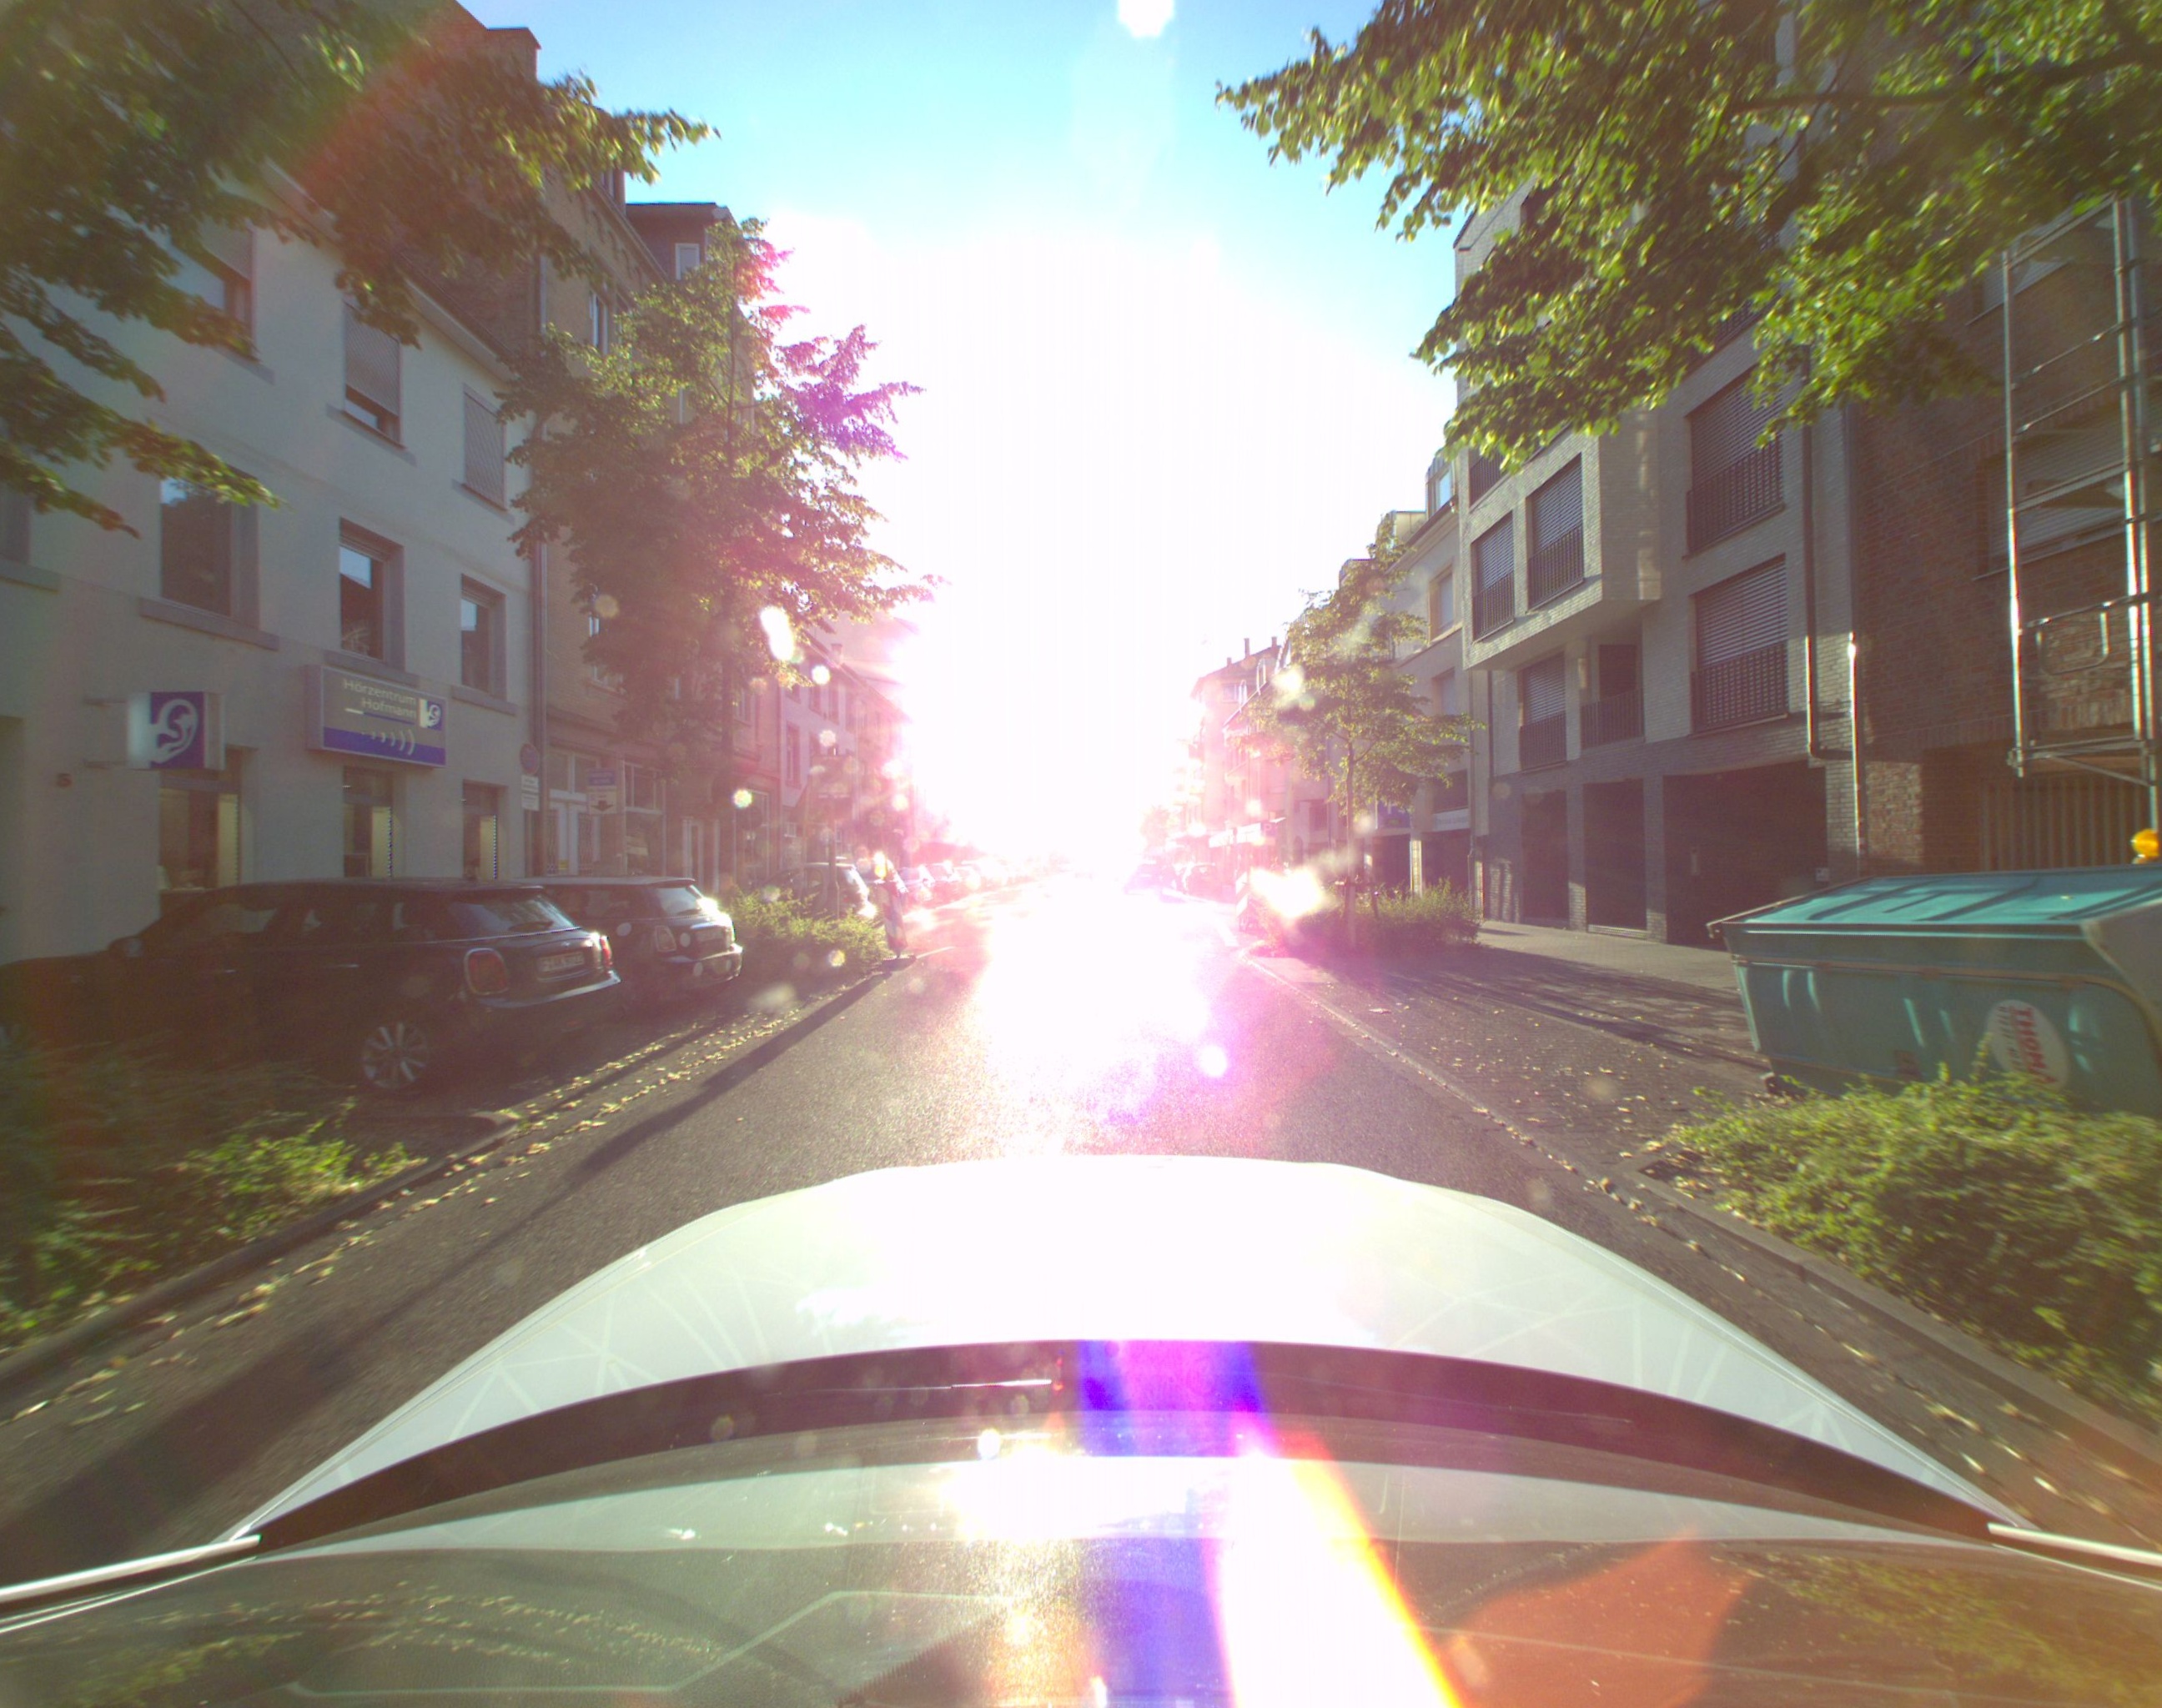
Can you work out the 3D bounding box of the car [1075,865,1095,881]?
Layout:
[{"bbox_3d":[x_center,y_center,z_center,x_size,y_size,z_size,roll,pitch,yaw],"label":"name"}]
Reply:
[{"bbox_3d":[0.404,1.811,78.451,1.877,1.415,4.325,0,-1,1],"label":"car"}]

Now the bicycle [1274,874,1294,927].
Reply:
[{"bbox_3d":[4.566,1.021,18.355,0.368,1.108,1.528,-2,-1,12],"label":"bicycle"}]

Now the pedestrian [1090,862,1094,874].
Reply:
[{"bbox_3d":[1.566,2.085,117.661,0.496,1.715,0.459,-1,0,-20],"label":"pedestrian"}]

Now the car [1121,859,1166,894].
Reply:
[{"bbox_3d":[3.112,1.091,41.240,1.988,1.655,4.674,1,-1,1],"label":"car"}]

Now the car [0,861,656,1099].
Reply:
[{"bbox_3d":[-5.691,0.832,6.228,3.879,1.517,1.857,-1,-1,1],"label":"car"}]

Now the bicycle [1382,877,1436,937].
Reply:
[{"bbox_3d":[6.529,1.031,16.272,0.381,1.100,1.521,-1,-1,-3],"label":"bicycle"}]

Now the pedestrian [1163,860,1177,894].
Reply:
[{"bbox_3d":[4.458,1.132,40.808,0.443,1.665,0.561,-1,-1,-24],"label":"pedestrian"}]

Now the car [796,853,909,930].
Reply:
[{"bbox_3d":[-5.910,0.932,21.639,1.901,1.728,4.695,-2,-1,-4],"label":"car"}]

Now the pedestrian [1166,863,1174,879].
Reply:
[{"bbox_3d":[8.741,1.621,79.702,0.685,1.559,0.863,-1,-1,1],"label":"pedestrian"}]

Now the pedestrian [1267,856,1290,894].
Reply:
[{"bbox_3d":[8.916,0.955,36.749,0.808,1.647,0.606,-3,-2,0],"label":"pedestrian"}]

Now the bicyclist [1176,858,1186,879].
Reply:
[{"bbox_3d":[8.494,1.221,68.993,0.648,1.702,1.095,-1,-1,0],"label":"bicyclist"}]

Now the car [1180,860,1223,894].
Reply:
[{"bbox_3d":[5.900,1.130,40.127,1.628,1.553,2.692,-2,-1,-2],"label":"car"}]

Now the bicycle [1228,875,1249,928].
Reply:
[{"bbox_3d":[3.567,1.045,18.484,0.360,1.141,1.569,-1,-1,9],"label":"bicycle"}]

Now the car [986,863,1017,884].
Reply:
[{"bbox_3d":[-6.124,1.487,62.862,1.821,1.439,4.553,-3,-1,1],"label":"car"}]

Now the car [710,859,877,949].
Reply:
[{"bbox_3d":[-5.577,0.944,16.048,2.688,1.520,1.570,-3,0,-3],"label":"car"}]

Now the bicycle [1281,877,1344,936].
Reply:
[{"bbox_3d":[4.638,1.028,16.408,0.383,1.100,1.512,-1,-1,-20],"label":"bicycle"}]

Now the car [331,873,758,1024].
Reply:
[{"bbox_3d":[-5.461,0.924,8.595,3.383,1.392,1.688,-1,-1,2],"label":"car"}]

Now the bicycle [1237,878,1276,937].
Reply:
[{"bbox_3d":[3.521,1.054,16.444,0.381,1.100,1.522,-1,-1,-2],"label":"bicycle"}]

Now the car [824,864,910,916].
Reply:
[{"bbox_3d":[-6.765,1.103,26.099,1.767,1.515,3.485,-1,-1,1],"label":"car"}]

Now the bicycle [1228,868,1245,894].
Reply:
[{"bbox_3d":[7.521,1.293,39.518,0.396,1.234,1.824,-2,-1,-2],"label":"bicycle"}]

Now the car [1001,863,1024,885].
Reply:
[{"bbox_3d":[-6.013,1.771,71.981,1.829,1.854,4.119,-1,-1,-3],"label":"car"}]

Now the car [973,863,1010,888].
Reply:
[{"bbox_3d":[-6.166,1.443,56.819,1.820,1.556,5.137,-3,-1,1],"label":"car"}]

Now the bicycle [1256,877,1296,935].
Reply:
[{"bbox_3d":[3.983,1.036,16.744,0.381,1.100,1.521,-1,-1,-2],"label":"bicycle"}]

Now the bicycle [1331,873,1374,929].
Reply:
[{"bbox_3d":[6.021,1.010,18.118,0.381,1.189,1.521,0,-1,-3],"label":"bicycle"}]

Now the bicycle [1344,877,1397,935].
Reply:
[{"bbox_3d":[5.936,1.040,16.770,0.381,1.100,1.520,-1,-1,-6],"label":"bicycle"}]

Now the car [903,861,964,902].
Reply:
[{"bbox_3d":[-6.277,1.144,35.061,1.767,1.633,4.238,-1,-1,1],"label":"car"}]

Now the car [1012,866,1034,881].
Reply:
[{"bbox_3d":[-5.522,1.879,77.965,1.827,1.328,4.123,-1,-1,0],"label":"car"}]

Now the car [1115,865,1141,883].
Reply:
[{"bbox_3d":[3.798,1.609,65.995,1.915,1.415,4.548,1,-1,1],"label":"car"}]

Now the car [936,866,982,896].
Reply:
[{"bbox_3d":[-6.494,1.385,43.632,1.707,1.440,4.309,-3,-1,1],"label":"car"}]

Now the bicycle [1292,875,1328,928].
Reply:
[{"bbox_3d":[5.067,1.024,18.105,0.380,1.100,1.566,-1,-1,2],"label":"bicycle"}]

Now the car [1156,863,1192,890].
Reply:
[{"bbox_3d":[5.313,1.273,46.966,1.628,1.424,3.757,-2,-1,0],"label":"car"}]

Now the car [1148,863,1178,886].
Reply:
[{"bbox_3d":[5.500,1.371,54.781,1.697,1.436,3.932,-1,-1,1],"label":"car"}]

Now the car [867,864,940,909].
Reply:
[{"bbox_3d":[-6.569,1.165,30.482,1.767,1.515,3.950,-1,-1,1],"label":"car"}]

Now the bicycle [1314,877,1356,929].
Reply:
[{"bbox_3d":[5.599,1.062,18.045,0.381,1.100,1.521,-1,-1,-3],"label":"bicycle"}]

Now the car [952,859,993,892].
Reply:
[{"bbox_3d":[-6.636,1.296,50.225,1.822,1.810,5.345,-3,-1,-1],"label":"car"}]

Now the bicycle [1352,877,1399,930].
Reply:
[{"bbox_3d":[6.459,1.069,17.927,0.381,1.100,1.521,-1,-1,-3],"label":"bicycle"}]

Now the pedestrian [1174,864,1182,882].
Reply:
[{"bbox_3d":[9.476,1.891,79.514,0.684,1.722,0.718,-2,-1,6],"label":"pedestrian"}]
